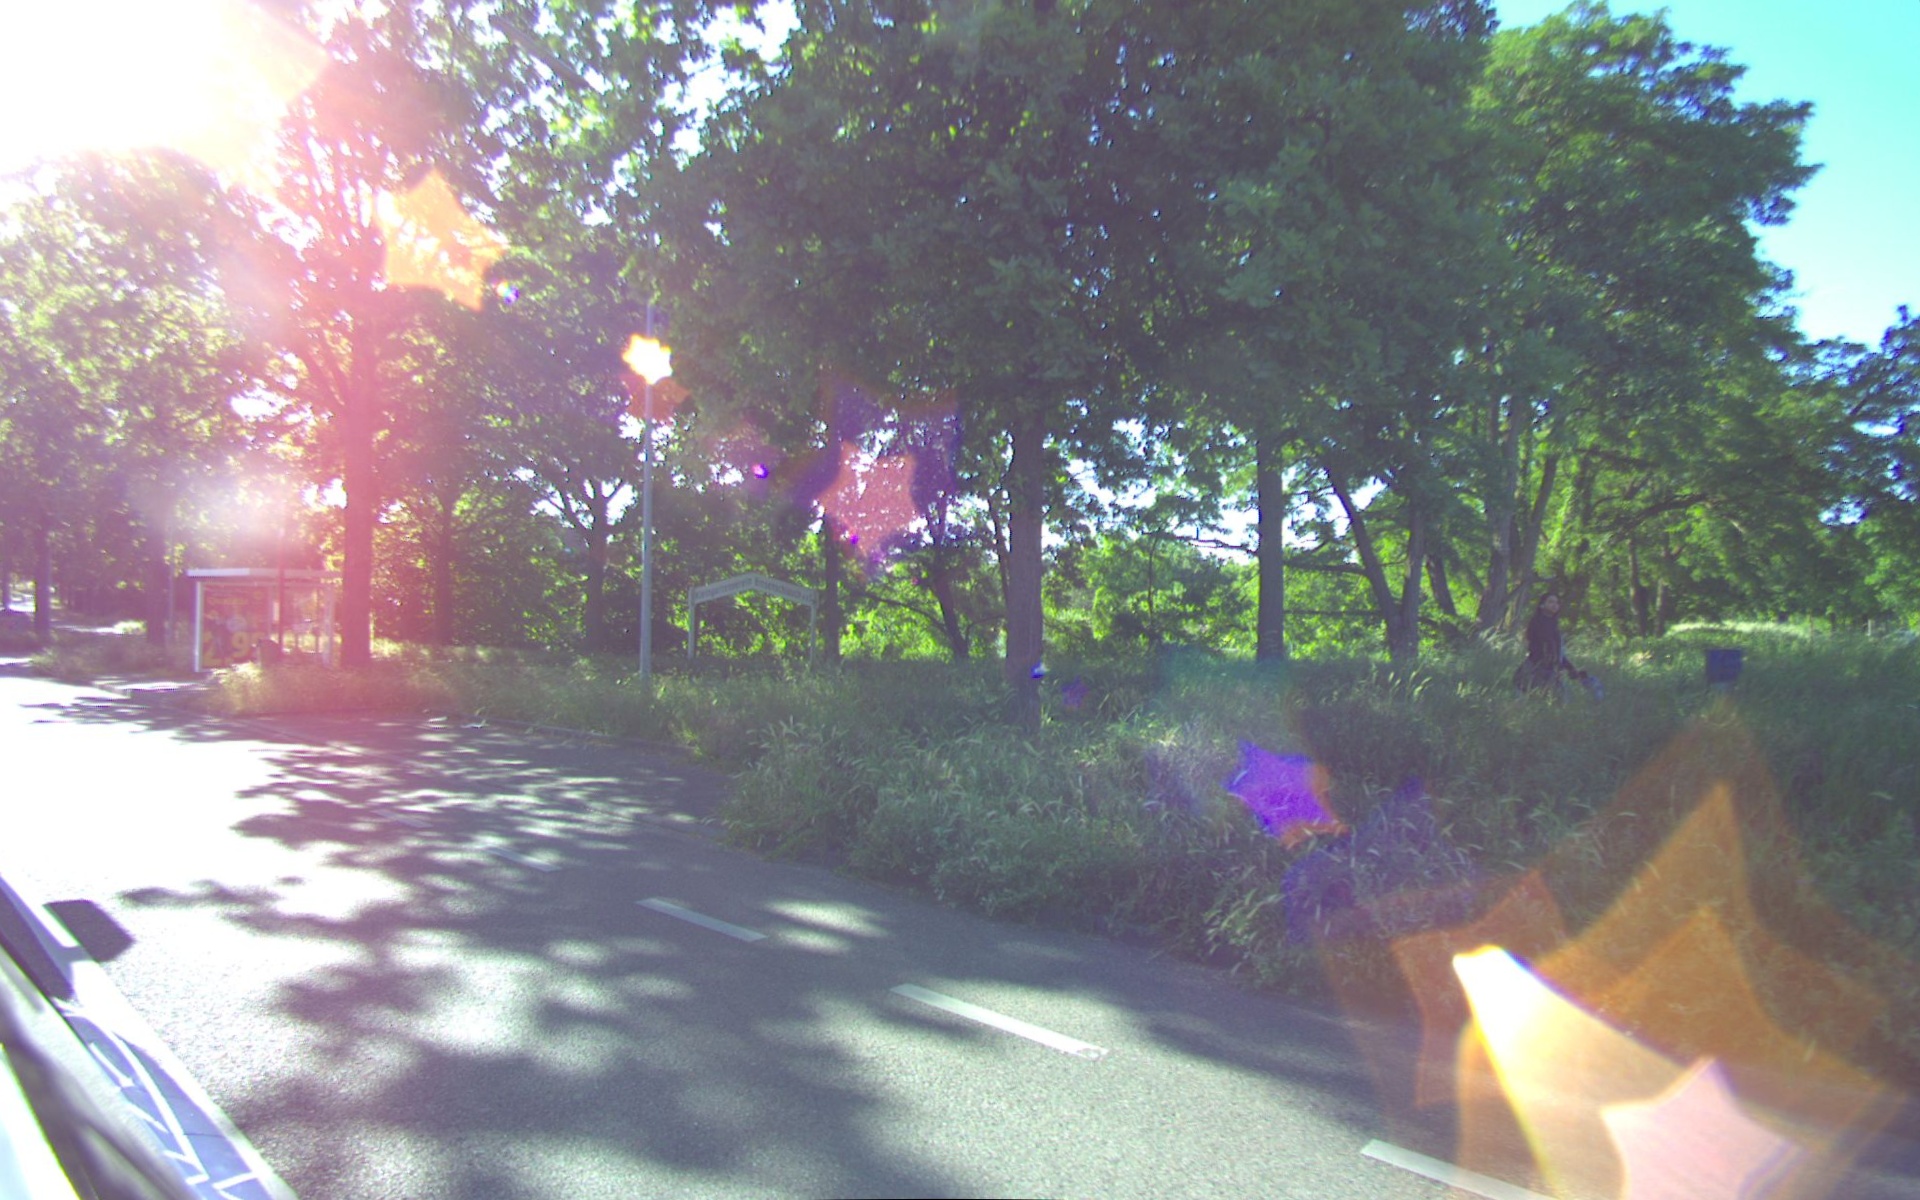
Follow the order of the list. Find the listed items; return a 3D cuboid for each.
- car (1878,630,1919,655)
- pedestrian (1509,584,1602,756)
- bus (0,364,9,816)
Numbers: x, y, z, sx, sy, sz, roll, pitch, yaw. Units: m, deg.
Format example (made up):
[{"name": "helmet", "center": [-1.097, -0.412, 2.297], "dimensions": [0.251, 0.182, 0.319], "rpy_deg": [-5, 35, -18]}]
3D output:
[{"name": "car", "center": [76.879, 3.428, 81.652], "dimensions": [3.993, 1.940, 1.975], "rpy_deg": [-1, 0, 37]}, {"name": "pedestrian", "center": [6.008, 0.668, 10.203], "dimensions": [0.647, 1.646, 0.790], "rpy_deg": [-1, 0, 41]}, {"name": "bus", "center": [-12.282, 0.036, 9.959], "dimensions": [12.473, 3.122, 3.088], "rpy_deg": [-1, 0, 41]}]
